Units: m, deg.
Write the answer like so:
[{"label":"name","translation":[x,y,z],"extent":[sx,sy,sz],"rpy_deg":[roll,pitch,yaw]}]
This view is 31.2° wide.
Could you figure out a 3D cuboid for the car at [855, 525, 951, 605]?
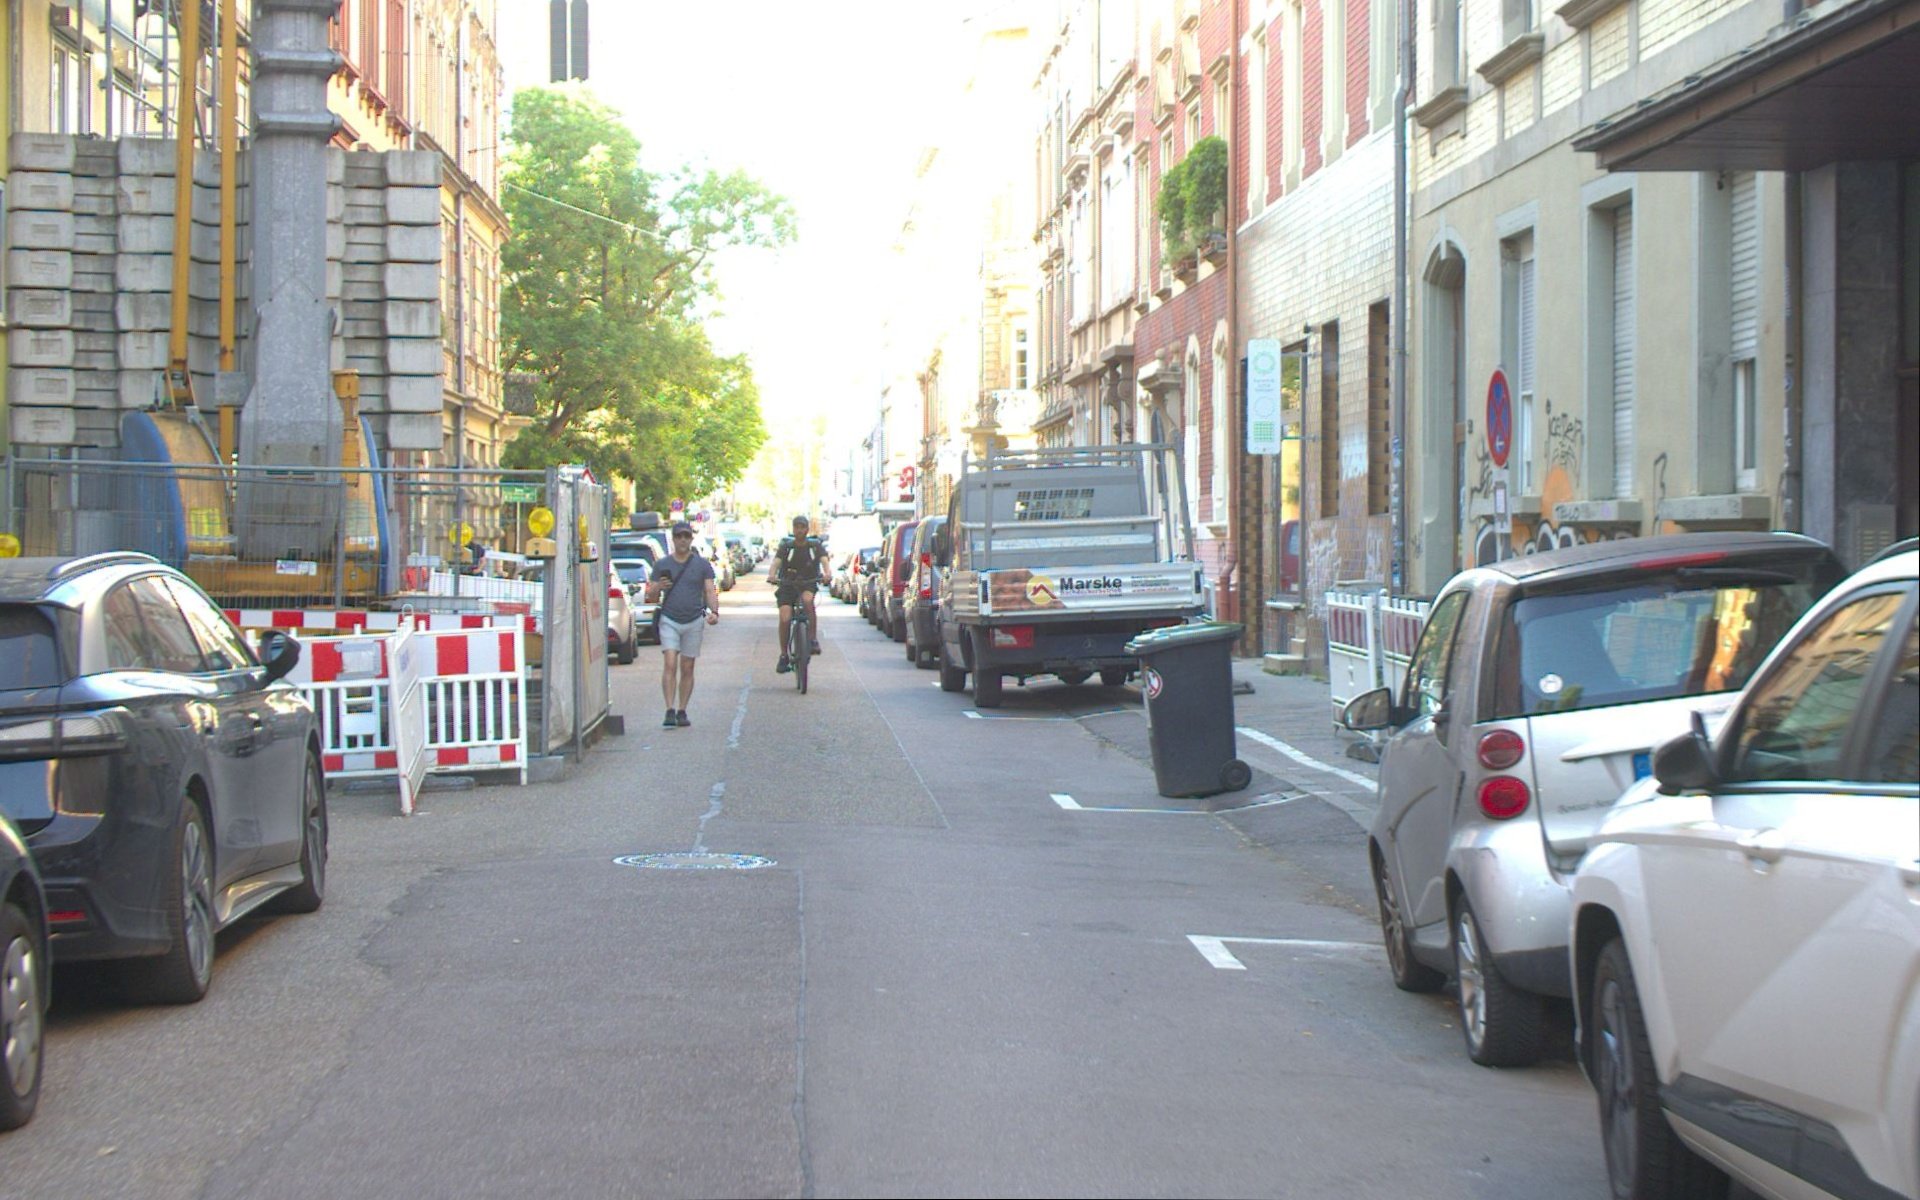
[{"label":"car","translation":[-1.184,-0.721,70.312],"extent":[1.674,1.565,3.870],"rpy_deg":[-1,1,-5]}]

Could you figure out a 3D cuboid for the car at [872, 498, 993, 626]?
[{"label":"car","translation":[-0.486,-0.639,56.842],"extent":[1.674,2.024,3.870],"rpy_deg":[-1,1,-5]}]

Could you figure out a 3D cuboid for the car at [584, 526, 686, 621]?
[{"label":"car","translation":[-5.614,-0.478,59.502],"extent":[1.674,1.565,3.870],"rpy_deg":[-1,1,-5]}]

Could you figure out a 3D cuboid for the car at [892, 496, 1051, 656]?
[{"label":"car","translation":[0.103,-0.326,44.361],"extent":[1.674,1.956,4.110],"rpy_deg":[-1,1,-5]}]

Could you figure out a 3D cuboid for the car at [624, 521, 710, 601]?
[{"label":"car","translation":[-5.972,-0.799,69.962],"extent":[1.674,1.565,3.870],"rpy_deg":[-1,1,-5]}]

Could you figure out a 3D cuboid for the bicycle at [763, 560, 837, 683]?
[{"label":"bicycle","translation":[-1.647,0.205,35.547],"extent":[0.724,1.182,2.043],"rpy_deg":[1,2,-2]}]

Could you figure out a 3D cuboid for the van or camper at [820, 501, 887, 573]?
[{"label":"van or camper","translation":[-3.845,-2.262,123.297],"extent":[1.993,2.500,4.203],"rpy_deg":[-1,1,-7]}]

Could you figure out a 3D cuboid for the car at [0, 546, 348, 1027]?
[{"label":"car","translation":[-3.429,0.545,12.845],"extent":[1.674,1.472,4.608],"rpy_deg":[-1,1,-3]}]

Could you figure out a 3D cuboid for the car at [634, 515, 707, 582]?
[{"label":"car","translation":[-8.245,-1.481,98.129],"extent":[1.993,1.842,4.001],"rpy_deg":[-1,1,-4]}]

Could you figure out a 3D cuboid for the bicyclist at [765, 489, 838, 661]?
[{"label":"bicyclist","translation":[-1.639,-0.269,35.555],"extent":[0.730,1.755,0.835],"rpy_deg":[0,2,-2]}]

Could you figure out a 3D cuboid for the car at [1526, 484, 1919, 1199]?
[{"label":"car","translation":[2.377,0.624,6.542],"extent":[1.746,1.670,4.341],"rpy_deg":[-1,1,-2]}]

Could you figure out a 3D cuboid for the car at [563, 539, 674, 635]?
[{"label":"car","translation":[-5.408,-0.229,54.610],"extent":[1.674,1.440,3.870],"rpy_deg":[-1,1,-5]}]

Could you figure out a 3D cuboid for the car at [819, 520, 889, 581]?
[{"label":"car","translation":[-3.343,-1.570,107.726],"extent":[1.993,1.842,4.001],"rpy_deg":[-1,1,-4]}]

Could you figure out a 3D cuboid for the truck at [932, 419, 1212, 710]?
[{"label":"truck","translation":[0.998,-0.377,33.884],"extent":[2.189,2.598,5.235],"rpy_deg":[-1,1,-4]}]

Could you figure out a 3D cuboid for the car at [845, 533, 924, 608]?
[{"label":"car","translation":[-2.103,-0.838,94.738],"extent":[1.993,2.007,4.001],"rpy_deg":[-1,1,-4]}]

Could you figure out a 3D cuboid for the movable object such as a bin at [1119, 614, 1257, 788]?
[{"label":"movable object such as a bin","translation":[1.425,0.624,21.571],"extent":[0.795,1.052,0.660],"rpy_deg":[0,1,-3]}]

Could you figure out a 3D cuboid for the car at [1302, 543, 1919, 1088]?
[{"label":"car","translation":[2.219,0.595,11.910],"extent":[1.596,1.555,3.814],"rpy_deg":[-1,1,-1]}]

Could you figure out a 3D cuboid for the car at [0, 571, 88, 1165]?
[{"label":"car","translation":[-3.234,0.714,7.620],"extent":[1.674,1.506,4.415],"rpy_deg":[-1,1,-3]}]

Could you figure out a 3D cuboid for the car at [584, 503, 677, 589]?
[{"label":"car","translation":[-6.185,-1.016,64.751],"extent":[1.674,1.565,3.870],"rpy_deg":[-1,1,-5]}]

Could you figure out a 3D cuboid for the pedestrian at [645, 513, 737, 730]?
[{"label":"pedestrian","translation":[-2.193,0.166,28.087],"extent":[0.657,1.727,0.720],"rpy_deg":[-2,1,-3]}]

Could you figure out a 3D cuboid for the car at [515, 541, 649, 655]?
[{"label":"car","translation":[-4.999,-0.052,45.804],"extent":[1.674,1.440,3.870],"rpy_deg":[-1,1,-5]}]

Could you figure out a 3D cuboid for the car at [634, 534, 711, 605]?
[{"label":"car","translation":[-7.755,-0.837,92.965],"extent":[1.993,1.842,4.001],"rpy_deg":[-1,1,-4]}]
